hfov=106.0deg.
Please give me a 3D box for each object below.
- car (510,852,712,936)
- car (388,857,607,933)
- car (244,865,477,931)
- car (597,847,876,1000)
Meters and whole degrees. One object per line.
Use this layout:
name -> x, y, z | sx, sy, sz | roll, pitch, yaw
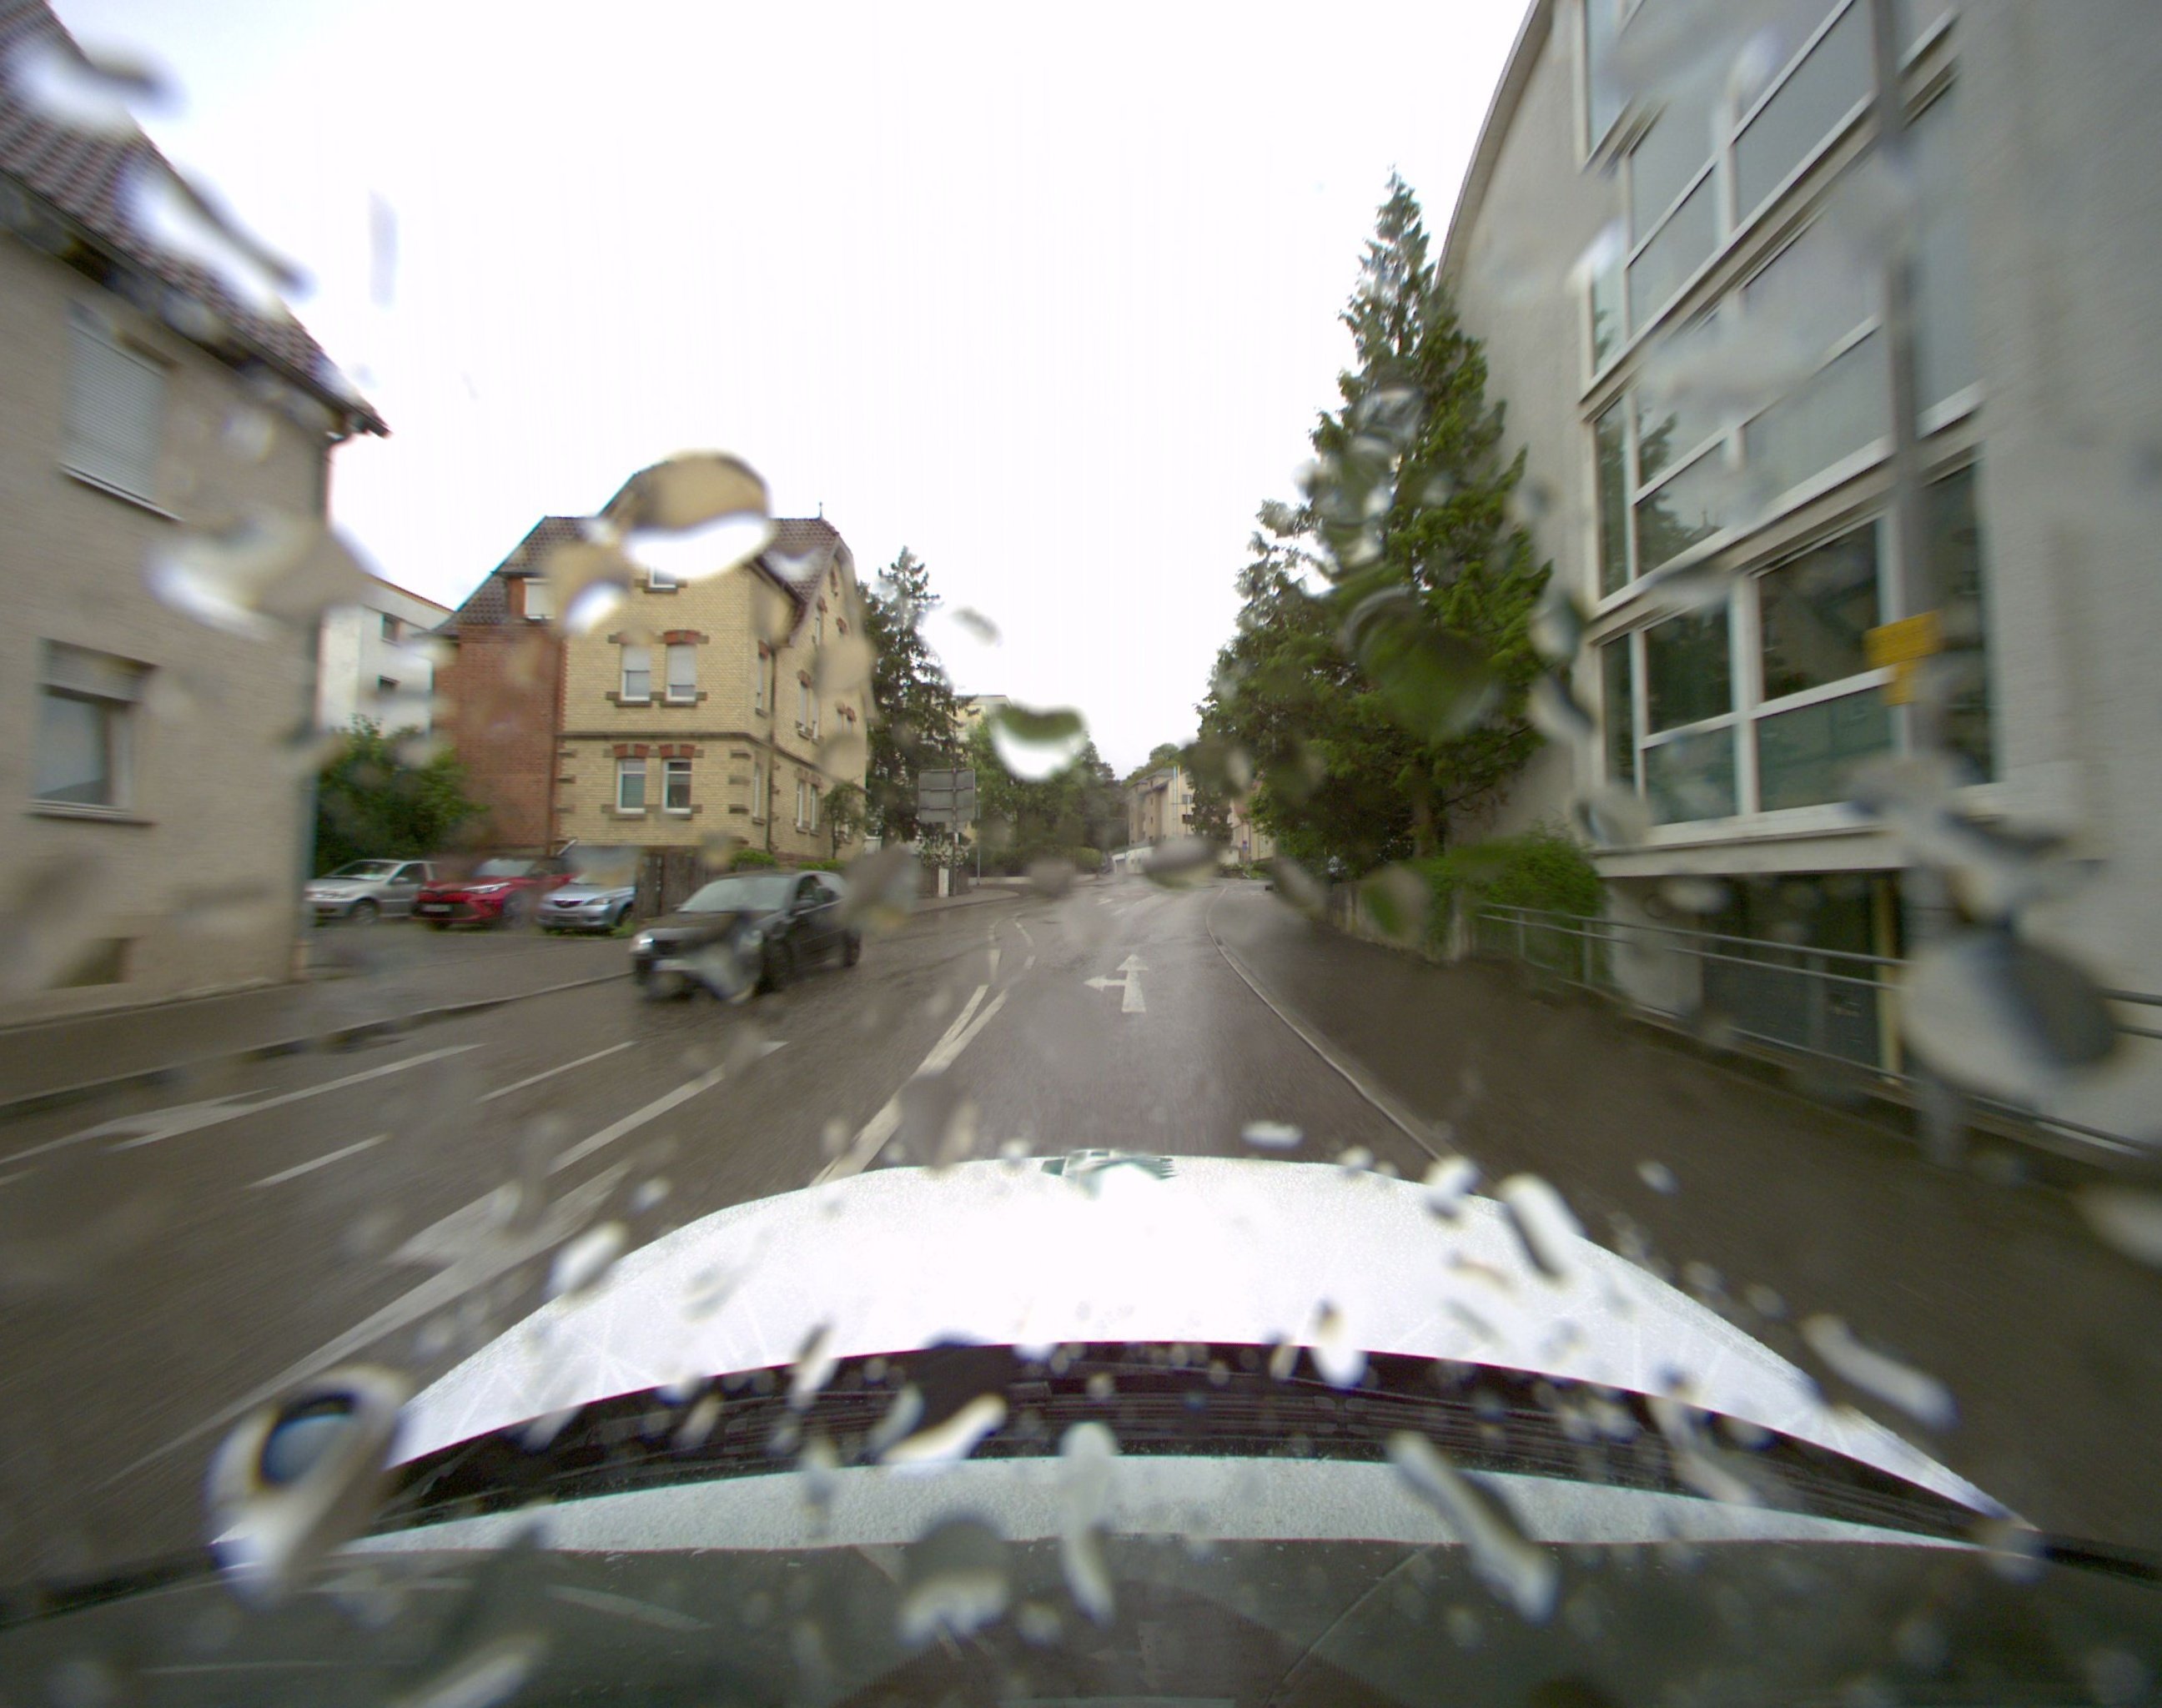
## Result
car -> -9.460, 0.729, 16.806 | 1.763, 1.503, 3.885 | 1, 0, 2
car -> -12.123, 0.782, 17.277 | 1.764, 1.367, 3.883 | 1, 0, 1
car -> -15.128, 0.864, 17.386 | 1.712, 1.166, 3.575 | 1, 0, 1
car -> -4.242, 0.768, 10.786 | 1.737, 1.571, 3.818 | 3, 0, 4
